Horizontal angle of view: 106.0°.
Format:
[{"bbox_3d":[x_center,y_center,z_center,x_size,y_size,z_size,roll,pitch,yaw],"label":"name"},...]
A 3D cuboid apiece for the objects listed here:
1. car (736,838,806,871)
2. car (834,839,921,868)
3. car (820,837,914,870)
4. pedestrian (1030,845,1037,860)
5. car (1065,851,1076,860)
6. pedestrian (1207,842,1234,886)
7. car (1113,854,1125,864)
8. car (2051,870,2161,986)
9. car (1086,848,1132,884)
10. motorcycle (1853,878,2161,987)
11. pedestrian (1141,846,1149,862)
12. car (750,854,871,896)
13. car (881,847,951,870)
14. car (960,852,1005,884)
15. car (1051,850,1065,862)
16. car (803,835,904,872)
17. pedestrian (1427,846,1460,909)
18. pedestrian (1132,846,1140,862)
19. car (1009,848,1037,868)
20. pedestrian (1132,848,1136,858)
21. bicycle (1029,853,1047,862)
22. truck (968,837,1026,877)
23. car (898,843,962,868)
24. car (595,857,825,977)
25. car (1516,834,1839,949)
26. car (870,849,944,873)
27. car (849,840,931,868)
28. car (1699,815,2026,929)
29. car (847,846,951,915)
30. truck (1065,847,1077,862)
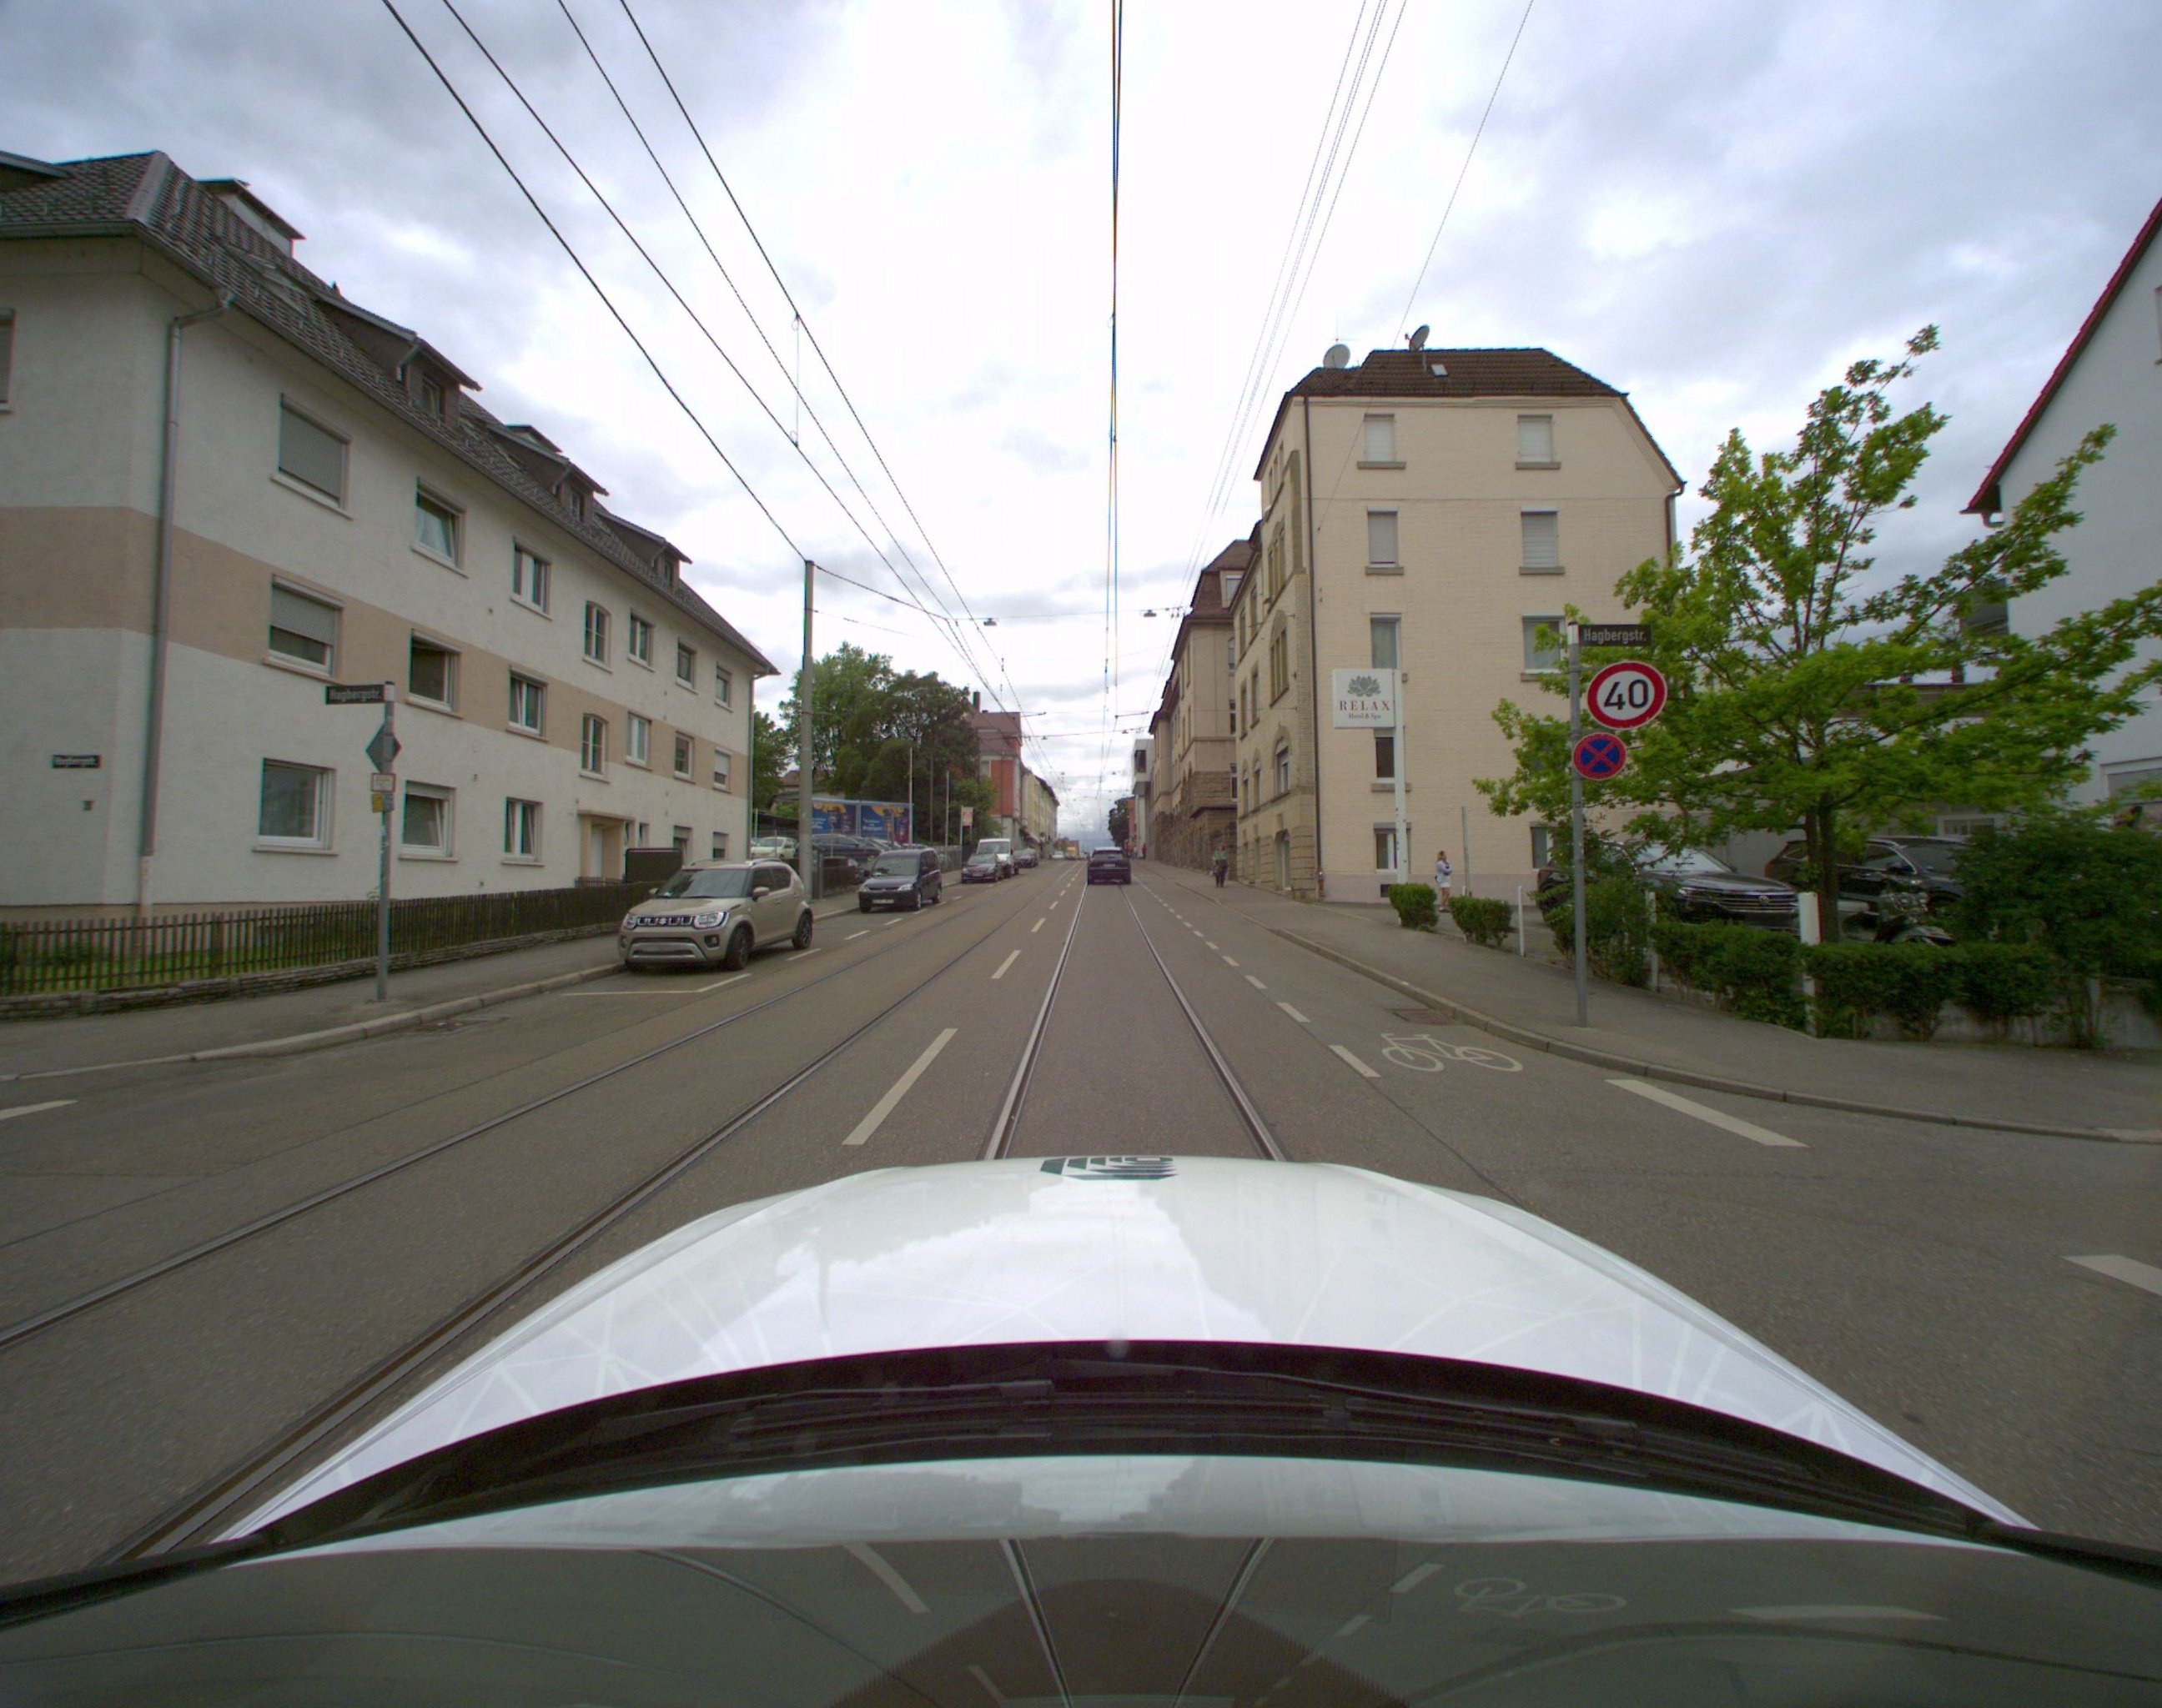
[{"bbox_3d":[-14.426,0.008,38.116,1.676,1.494,3.891,0,0,2],"label":"car"},{"bbox_3d":[-10.464,-0.010,42.010,4.046,1.445,1.688,0,0,0],"label":"car"},{"bbox_3d":[-10.361,-0.026,39.579,4.046,1.524,1.739,0,0,0],"label":"car"},{"bbox_3d":[-5.855,-0.191,100.334,0.772,1.776,0.650,0,0,2],"label":"pedestrian"},{"bbox_3d":[-1.944,0.324,149.632,1.848,1.607,4.298,0,0,1],"label":"car"},{"bbox_3d":[5.407,0.382,31.684,0.868,1.686,0.663,-2,0,-1],"label":"pedestrian"},{"bbox_3d":[6.265,0.775,135.234,1.986,1.563,4.291,0,0,2],"label":"car"},{"bbox_3d":[14.216,0.982,8.973,1.904,1.354,4.326,0,2,0],"label":"car"},{"bbox_3d":[1.302,0.525,37.773,1.986,1.563,4.291,0,0,2],"label":"car"},{"bbox_3d":[10.615,0.876,9.492,0.924,1.105,2.383,1,-4,0],"label":"motorcycle"},{"bbox_3d":[6.920,-0.007,87.856,0.788,1.667,0.799,0,0,3],"label":"pedestrian"},{"bbox_3d":[-11.281,0.870,34.141,4.324,1.345,1.861,-5,0,0],"label":"car"},{"bbox_3d":[-10.010,0.273,49.539,3.863,1.357,1.688,0,0,0],"label":"car"},{"bbox_3d":[-4.990,0.672,41.820,1.691,1.433,4.480,-2,0,0],"label":"car"},{"bbox_3d":[-3.263,0.293,117.123,1.848,1.607,4.298,0,0,1],"label":"car"},{"bbox_3d":[-10.305,-0.034,37.103,4.046,1.552,1.688,1,0,0],"label":"car"},{"bbox_3d":[9.259,0.588,20.840,0.556,1.582,0.686,0,0,2],"label":"pedestrian"},{"bbox_3d":[5.954,0.007,87.876,0.788,1.667,0.799,0,0,3],"label":"pedestrian"},{"bbox_3d":[-4.502,0.287,63.813,1.706,1.446,4.291,0,0,2],"label":"car"},{"bbox_3d":[8.992,-0.186,138.206,0.788,1.667,0.799,0,0,3],"label":"pedestrian"},{"bbox_3d":[-4.636,0.378,87.395,1.904,1.000,0.479,0,0,1],"label":"bicycle"},{"bbox_3d":[-4.885,0.141,48.589,2.271,2.188,8.030,0,0,2],"label":"truck"},{"bbox_3d":[-9.704,0.099,52.167,3.965,1.551,1.680,0,0,-14],"label":"car"},{"bbox_3d":[-5.571,0.848,12.826,1.690,1.556,3.853,0,0,3],"label":"car"},{"bbox_3d":[10.072,0.531,14.431,1.987,1.682,5.093,0,0,-1],"label":"car"},{"bbox_3d":[-9.977,0.405,46.816,3.863,1.357,1.688,0,0,0],"label":"car"},{"bbox_3d":[-10.376,-0.006,44.454,4.046,1.494,1.688,0,0,0],"label":"car"},{"bbox_3d":[14.980,0.288,16.094,1.987,1.911,4.703,0,0,0],"label":"car"},{"bbox_3d":[-5.171,0.686,23.788,1.737,1.735,4.522,-2,0,3],"label":"car"},{"bbox_3d":[-2.020,0.173,169.860,2.294,3.036,9.035,0,0,1],"label":"truck"}]
